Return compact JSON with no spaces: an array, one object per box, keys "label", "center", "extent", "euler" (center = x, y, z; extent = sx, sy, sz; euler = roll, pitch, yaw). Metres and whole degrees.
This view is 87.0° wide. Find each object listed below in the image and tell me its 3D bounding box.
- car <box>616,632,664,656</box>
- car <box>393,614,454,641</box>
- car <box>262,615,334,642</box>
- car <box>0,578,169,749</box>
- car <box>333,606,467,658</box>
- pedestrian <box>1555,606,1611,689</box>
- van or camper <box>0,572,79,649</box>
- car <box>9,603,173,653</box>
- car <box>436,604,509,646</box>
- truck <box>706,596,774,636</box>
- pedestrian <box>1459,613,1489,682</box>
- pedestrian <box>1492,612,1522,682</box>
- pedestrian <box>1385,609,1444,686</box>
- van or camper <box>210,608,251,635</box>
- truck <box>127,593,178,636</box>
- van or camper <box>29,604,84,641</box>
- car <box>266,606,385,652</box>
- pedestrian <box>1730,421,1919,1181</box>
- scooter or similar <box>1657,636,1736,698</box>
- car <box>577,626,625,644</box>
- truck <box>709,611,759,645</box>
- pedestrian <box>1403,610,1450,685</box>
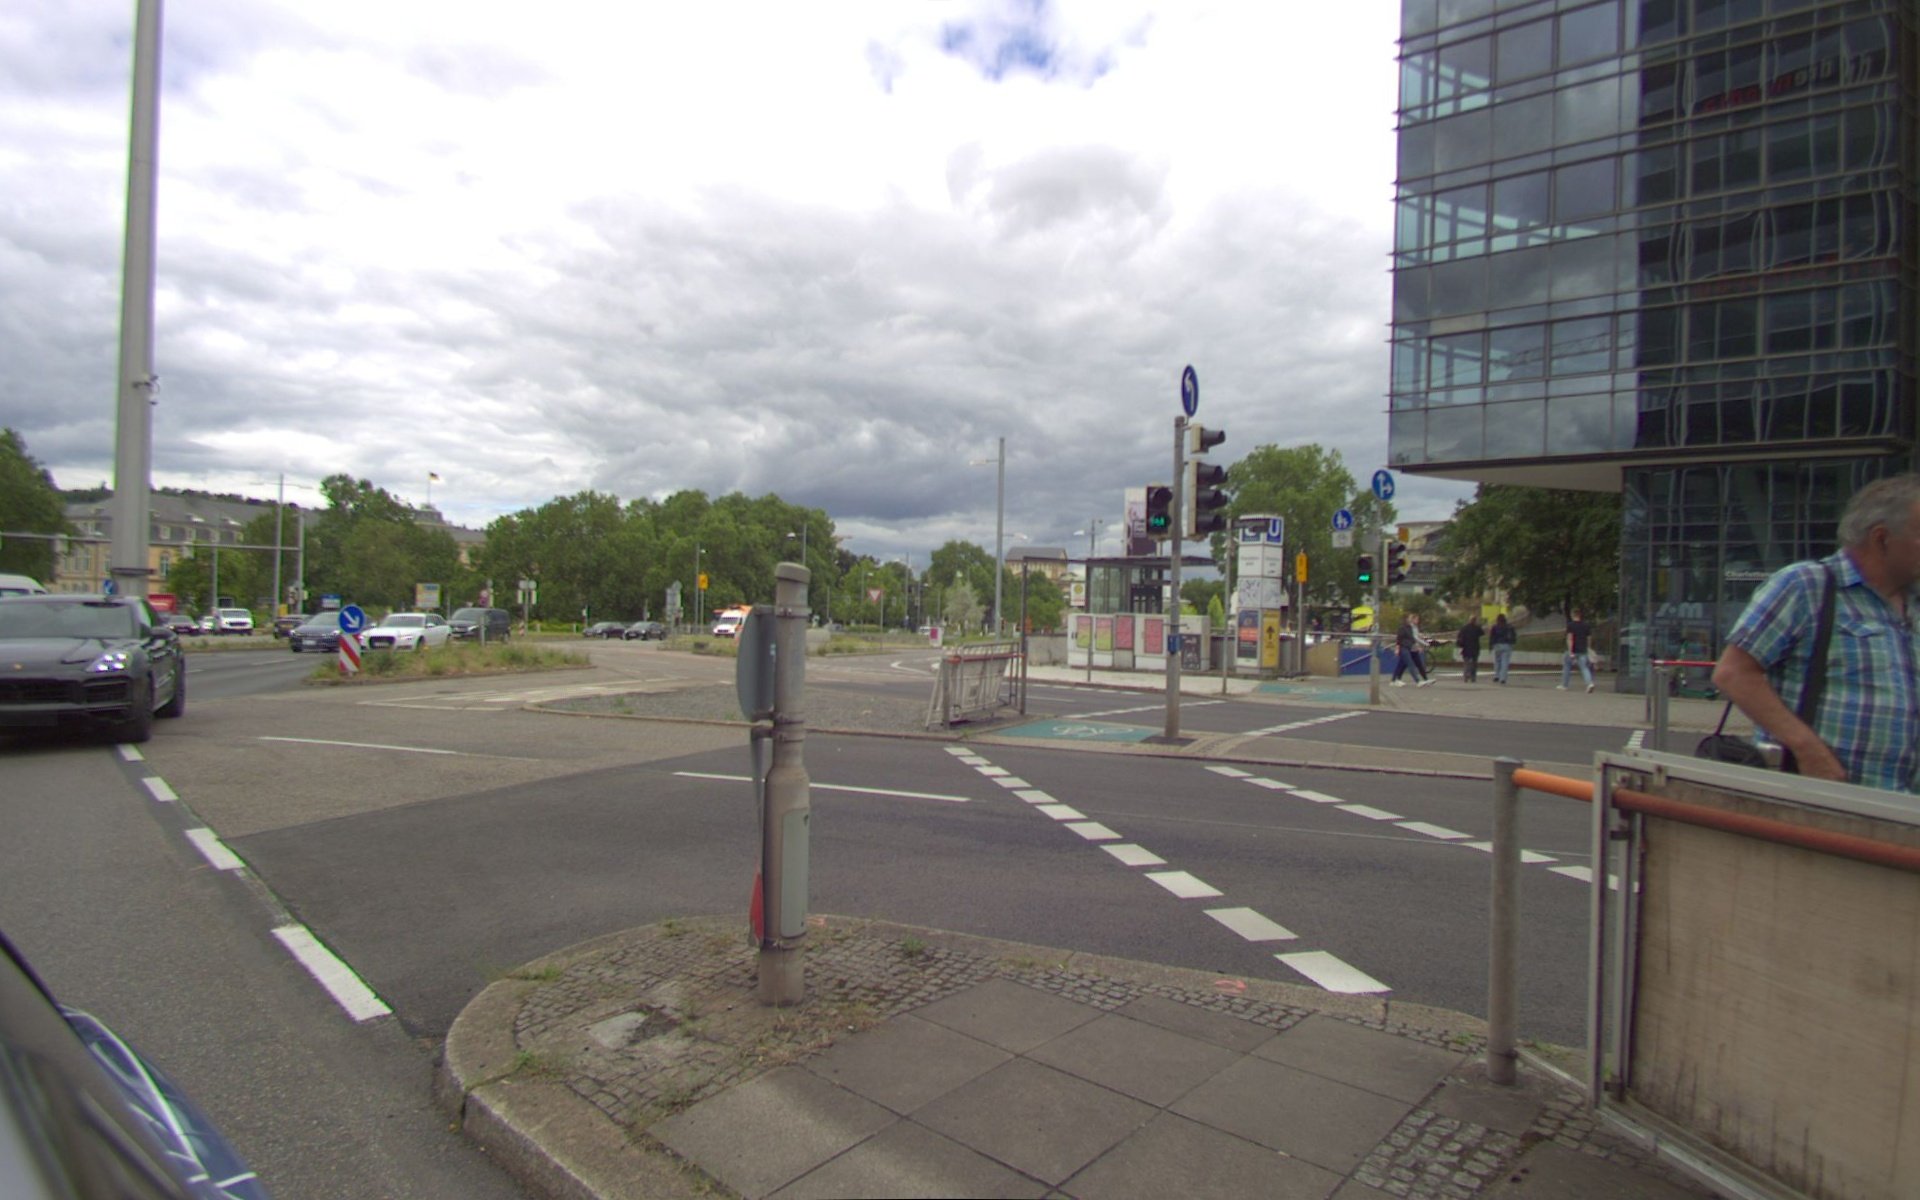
[{"label":"car","center":[-24.505,3.376,77.651],"extent":[1.842,1.752,3.724],"euler":[0,-2,13]},{"label":"car","center":[-34.680,1.830,65.599],"extent":[1.968,1.516,5.049],"euler":[0,-4,-9]},{"label":"car","center":[-36.605,1.551,56.056],"extent":[1.730,1.343,4.422],"euler":[-1,0,-10]},{"label":"car","center":[-10.669,0.705,11.890],"extent":[1.973,1.651,5.032],"euler":[0,-2,-36]},{"label":"car","center":[-19.089,1.079,34.755],"extent":[2.069,1.621,4.409],"euler":[-1,-1,2]},{"label":"pedestrian","center":[14.026,1.063,22.807],"extent":[0.687,1.824,0.932],"euler":[0,-1,1]},{"label":"van or camper","center":[-32.349,0.376,33.467],"extent":[2.111,2.496,6.176],"euler":[0,-1,-12]},{"label":"car","center":[-28.426,0.899,33.339],"extent":[1.918,1.494,4.636],"euler":[-1,-1,-8]},{"label":"car","center":[-24.865,1.256,51.803],"extent":[1.832,2.003,4.647],"euler":[2,-2,-6]},{"label":"truck","center":[-21.254,1.640,98.440],"extent":[2.702,3.644,9.137],"euler":[0,-2,13]},{"label":"pedestrian","center":[13.044,1.194,25.663],"extent":[0.630,1.713,0.761],"euler":[-1,-2,30]},{"label":"pedestrian","center":[13.673,1.167,25.308],"extent":[0.630,1.713,0.637],"euler":[-1,-2,30]},{"label":"pedestrian","center":[10.092,1.043,22.488],"extent":[0.644,1.625,0.967],"euler":[1,1,-41]},{"label":"van or camper","center":[-52.426,1.538,72.650],"extent":[1.837,1.931,4.719],"euler":[1,-2,-42]},{"label":"truck","center":[-69.597,1.260,87.194],"extent":[2.750,3.516,8.358],"euler":[2,-3,-43]},{"label":"van or camper","center":[-57.806,1.459,64.832],"extent":[2.337,2.280,6.298],"euler":[2,-3,-40]},{"label":"car","center":[-23.121,1.046,37.053],"extent":[1.971,1.613,4.002],"euler":[0,-1,-2]},{"label":"pedestrian","center":[2.577,0.486,2.685],"extent":[0.631,1.804,0.711],"euler":[-2,-5,26]},{"label":"scooter or similar","center":[15.248,1.376,20.994],"extent":[0.525,1.217,1.387],"euler":[0,-1,-5]},{"label":"car","center":[-28.479,2.763,80.424],"extent":[1.760,1.283,3.838],"euler":[0,-1,14]},{"label":"truck","center":[-19.556,2.449,87.882],"extent":[1.936,2.805,5.766],"euler":[0,-2,12]},{"label":"pedestrian","center":[10.707,1.067,23.240],"extent":[0.596,1.643,0.788],"euler":[-2,3,-41]}]
